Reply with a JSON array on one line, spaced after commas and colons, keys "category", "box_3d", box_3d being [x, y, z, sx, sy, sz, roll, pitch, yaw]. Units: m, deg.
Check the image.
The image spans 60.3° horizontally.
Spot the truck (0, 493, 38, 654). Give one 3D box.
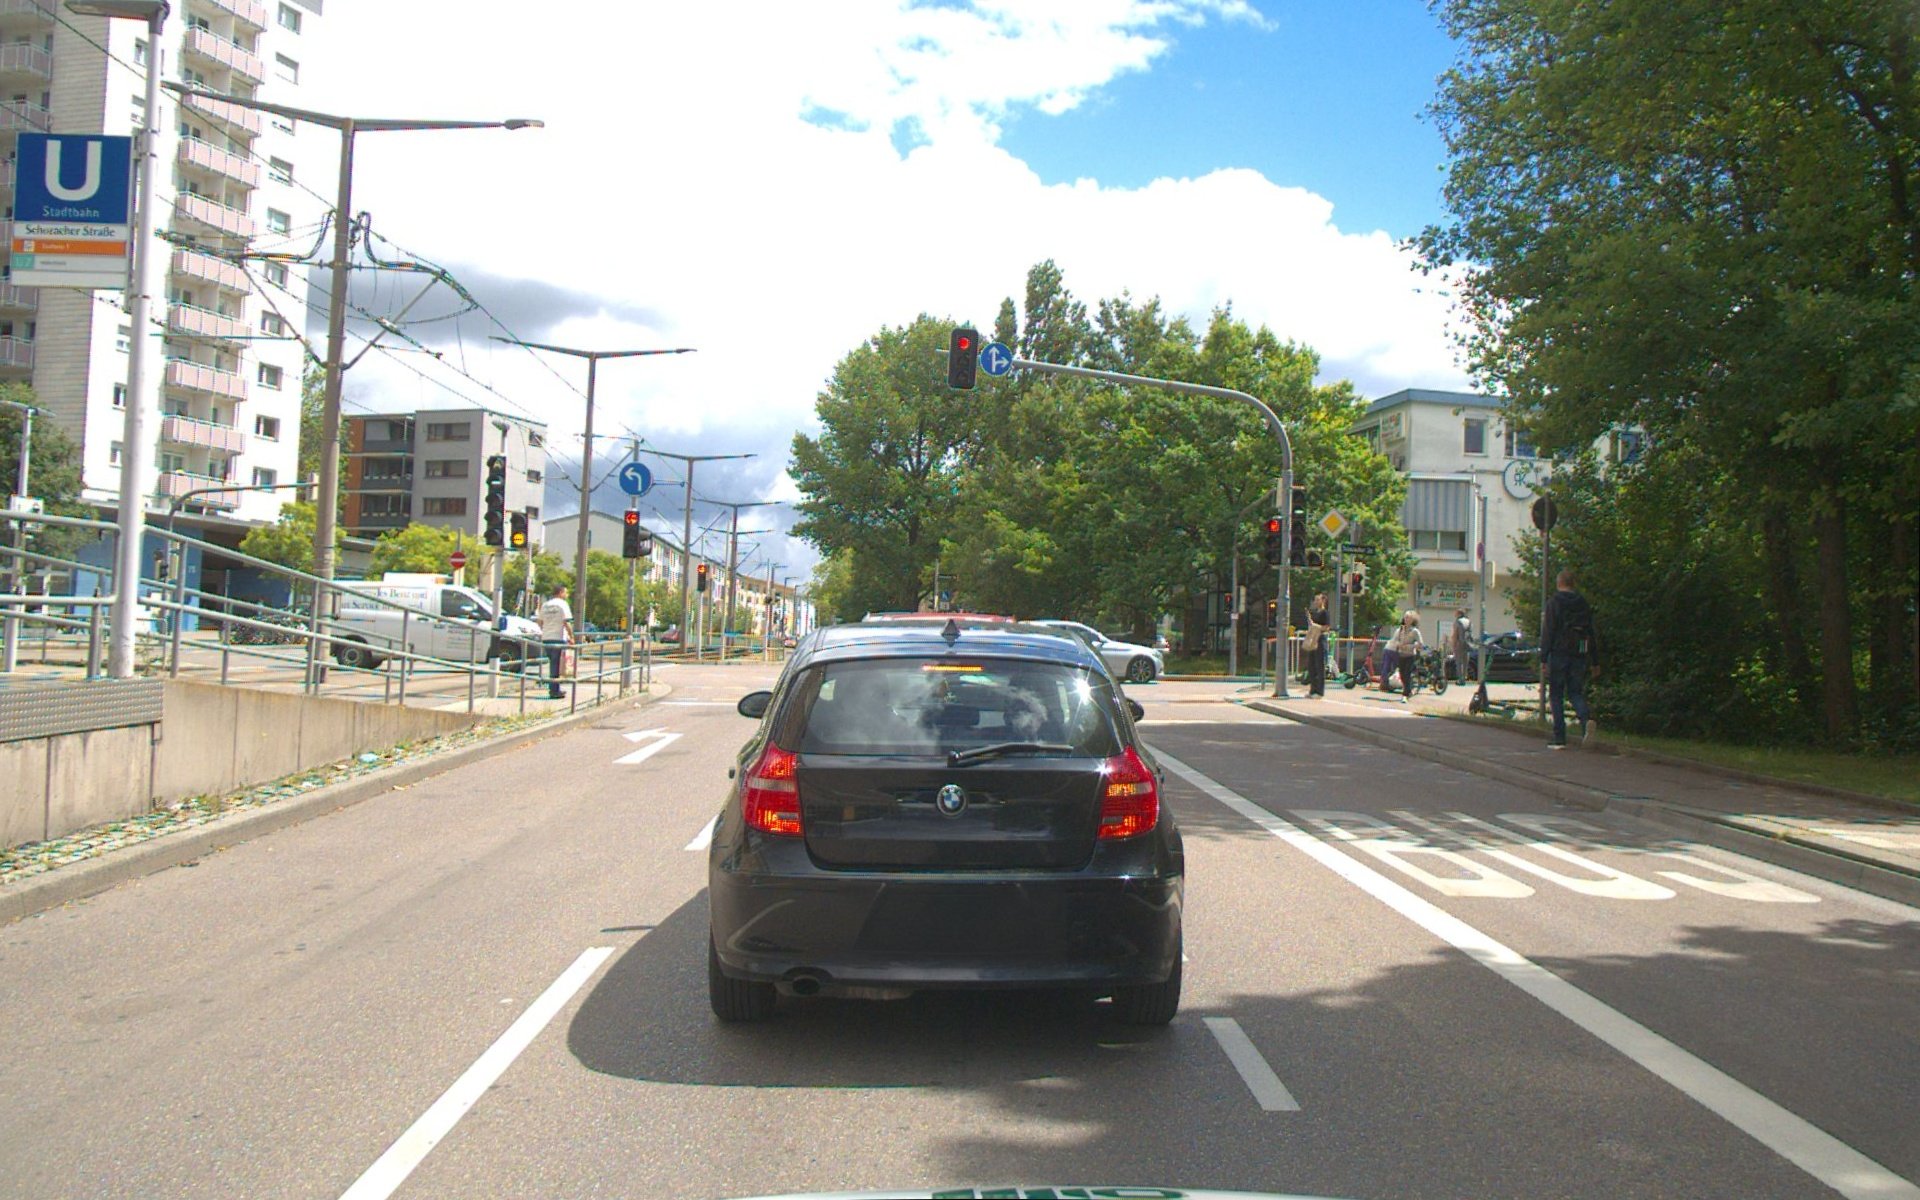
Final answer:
[{"category": "truck", "box_3d": [-23.937, -0.621, 35.059, 7.131, 3.407, 2.604, 1, -1, -8]}]

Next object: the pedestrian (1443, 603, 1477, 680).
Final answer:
[{"category": "pedestrian", "box_3d": [11.403, 0.940, 37.732, 0.644, 1.743, 0.461, 1, -1, 28]}]

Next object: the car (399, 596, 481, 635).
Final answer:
[{"category": "car", "box_3d": [-27.878, 0.860, 88.768, 3.893, 2.009, 1.630, 1, -1, -43]}]

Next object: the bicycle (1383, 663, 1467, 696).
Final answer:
[{"category": "bicycle", "box_3d": [9.316, 1.588, 33.125, 1.558, 0.620, 0.532, 1, 0, -14]}]

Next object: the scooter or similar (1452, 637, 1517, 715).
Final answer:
[{"category": "scooter or similar", "box_3d": [9.088, 1.306, 28.657, 0.872, 1.251, 0.454, 6, -1, -1]}]

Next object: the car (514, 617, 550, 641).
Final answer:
[{"category": "car", "box_3d": [-28.813, 1.943, 111.442, 1.559, 1.500, 3.773, 2, -1, -2]}]

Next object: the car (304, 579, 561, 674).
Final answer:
[{"category": "car", "box_3d": [-11.445, 0.581, 36.247, 5.076, 1.926, 1.995, 1, -1, -10]}]

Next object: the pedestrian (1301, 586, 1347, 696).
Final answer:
[{"category": "pedestrian", "box_3d": [6.365, 0.713, 28.930, 0.624, 1.909, 0.517, 1, -1, -11]}]

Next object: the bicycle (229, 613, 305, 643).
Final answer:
[{"category": "bicycle", "box_3d": [-26.009, 1.070, 62.056, 2.528, 1.026, 0.748, 3, -3, -29]}]

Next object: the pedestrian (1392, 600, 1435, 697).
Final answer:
[{"category": "pedestrian", "box_3d": [8.486, 0.902, 30.981, 0.623, 1.797, 0.518, 1, -1, -2]}]

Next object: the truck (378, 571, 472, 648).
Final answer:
[{"category": "truck", "box_3d": [-23.610, 0.435, 73.270, 2.237, 3.172, 7.311, 2, -1, -5]}]

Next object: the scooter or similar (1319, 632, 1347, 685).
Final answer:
[{"category": "scooter or similar", "box_3d": [7.890, 1.232, 34.978, 0.536, 1.082, 1.263, 1, 0, 13]}]

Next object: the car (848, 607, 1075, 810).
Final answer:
[{"category": "car", "box_3d": [-0.012, 0.791, 13.613, 1.605, 1.424, 3.419, 1, 0, -1]}]

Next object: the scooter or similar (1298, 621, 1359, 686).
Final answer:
[{"category": "scooter or similar", "box_3d": [7.384, 1.067, 33.131, 1.087, 1.257, 0.539, 1, -1, 1]}]

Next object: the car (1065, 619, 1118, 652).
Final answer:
[{"category": "car", "box_3d": [7.171, 1.944, 90.756, 1.830, 1.691, 3.988, 2, -1, -12]}]

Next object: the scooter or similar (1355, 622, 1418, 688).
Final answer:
[{"category": "scooter or similar", "box_3d": [8.728, 1.128, 33.879, 1.127, 1.294, 0.555, 2, -1, 1]}]

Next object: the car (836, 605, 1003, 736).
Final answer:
[{"category": "car", "box_3d": [-0.493, 0.817, 21.043, 1.862, 1.447, 4.538, 1, 0, -1]}]

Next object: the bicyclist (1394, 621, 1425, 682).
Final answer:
[{"category": "bicyclist", "box_3d": [8.982, 1.022, 33.041, 0.391, 1.177, 0.501, -1, 0, -13]}]

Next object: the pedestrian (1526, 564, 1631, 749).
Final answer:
[{"category": "pedestrian", "box_3d": [6.637, 0.592, 17.794, 0.778, 1.909, 1.014, 1, -1, 4]}]

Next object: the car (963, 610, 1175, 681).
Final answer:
[{"category": "car", "box_3d": [2.552, 1.070, 39.355, 4.701, 1.549, 1.996, 1, -1, -9]}]

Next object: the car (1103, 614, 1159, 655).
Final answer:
[{"category": "car", "box_3d": [8.221, 1.630, 79.891, 1.694, 1.904, 3.991, 2, -1, -9]}]

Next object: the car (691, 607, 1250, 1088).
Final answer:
[{"category": "car", "box_3d": [0.011, 0.760, 6.710, 1.666, 1.424, 3.419, 1, 0, -1]}]

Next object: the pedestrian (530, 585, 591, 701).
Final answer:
[{"category": "pedestrian", "box_3d": [-6.215, 0.652, 25.746, 0.684, 1.764, 0.677, 0, 1, -43]}]

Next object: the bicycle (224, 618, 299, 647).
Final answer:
[{"category": "bicycle", "box_3d": [-26.540, 1.244, 62.820, 2.528, 1.026, 0.748, 3, -3, -29]}]

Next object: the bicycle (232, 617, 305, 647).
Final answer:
[{"category": "bicycle", "box_3d": [-26.713, 1.245, 63.918, 2.528, 1.026, 0.748, 3, -3, -29]}]

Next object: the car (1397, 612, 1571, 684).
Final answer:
[{"category": "car", "box_3d": [15.335, 1.373, 48.512, 4.451, 2.049, 1.996, 0, 0, -9]}]
